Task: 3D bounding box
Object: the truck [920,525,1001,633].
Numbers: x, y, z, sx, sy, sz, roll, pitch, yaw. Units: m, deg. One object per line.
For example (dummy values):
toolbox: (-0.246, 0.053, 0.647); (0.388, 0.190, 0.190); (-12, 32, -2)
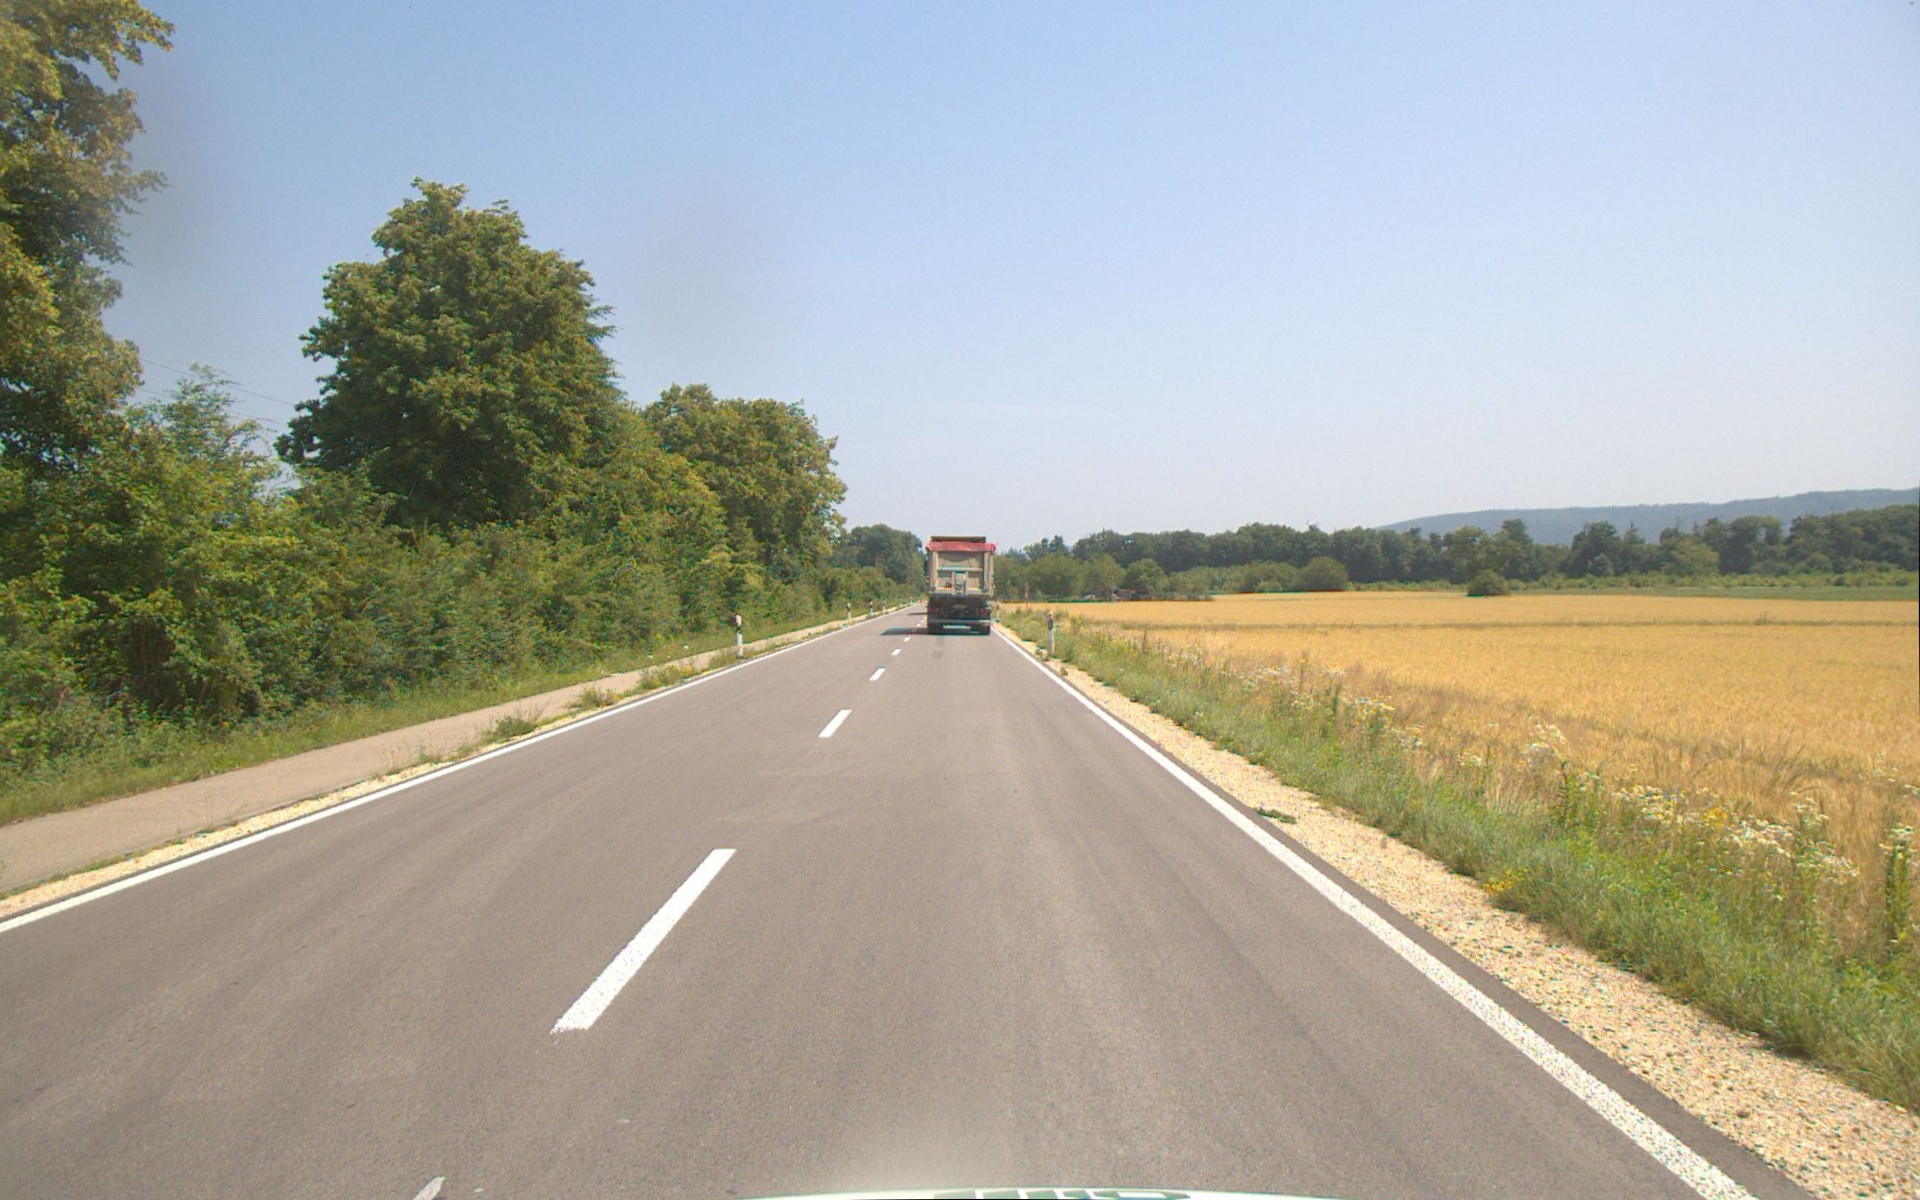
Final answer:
truck: (-0.026, -0.765, 67.474); (2.948, 3.942, 12.207); (1, 0, 0)
